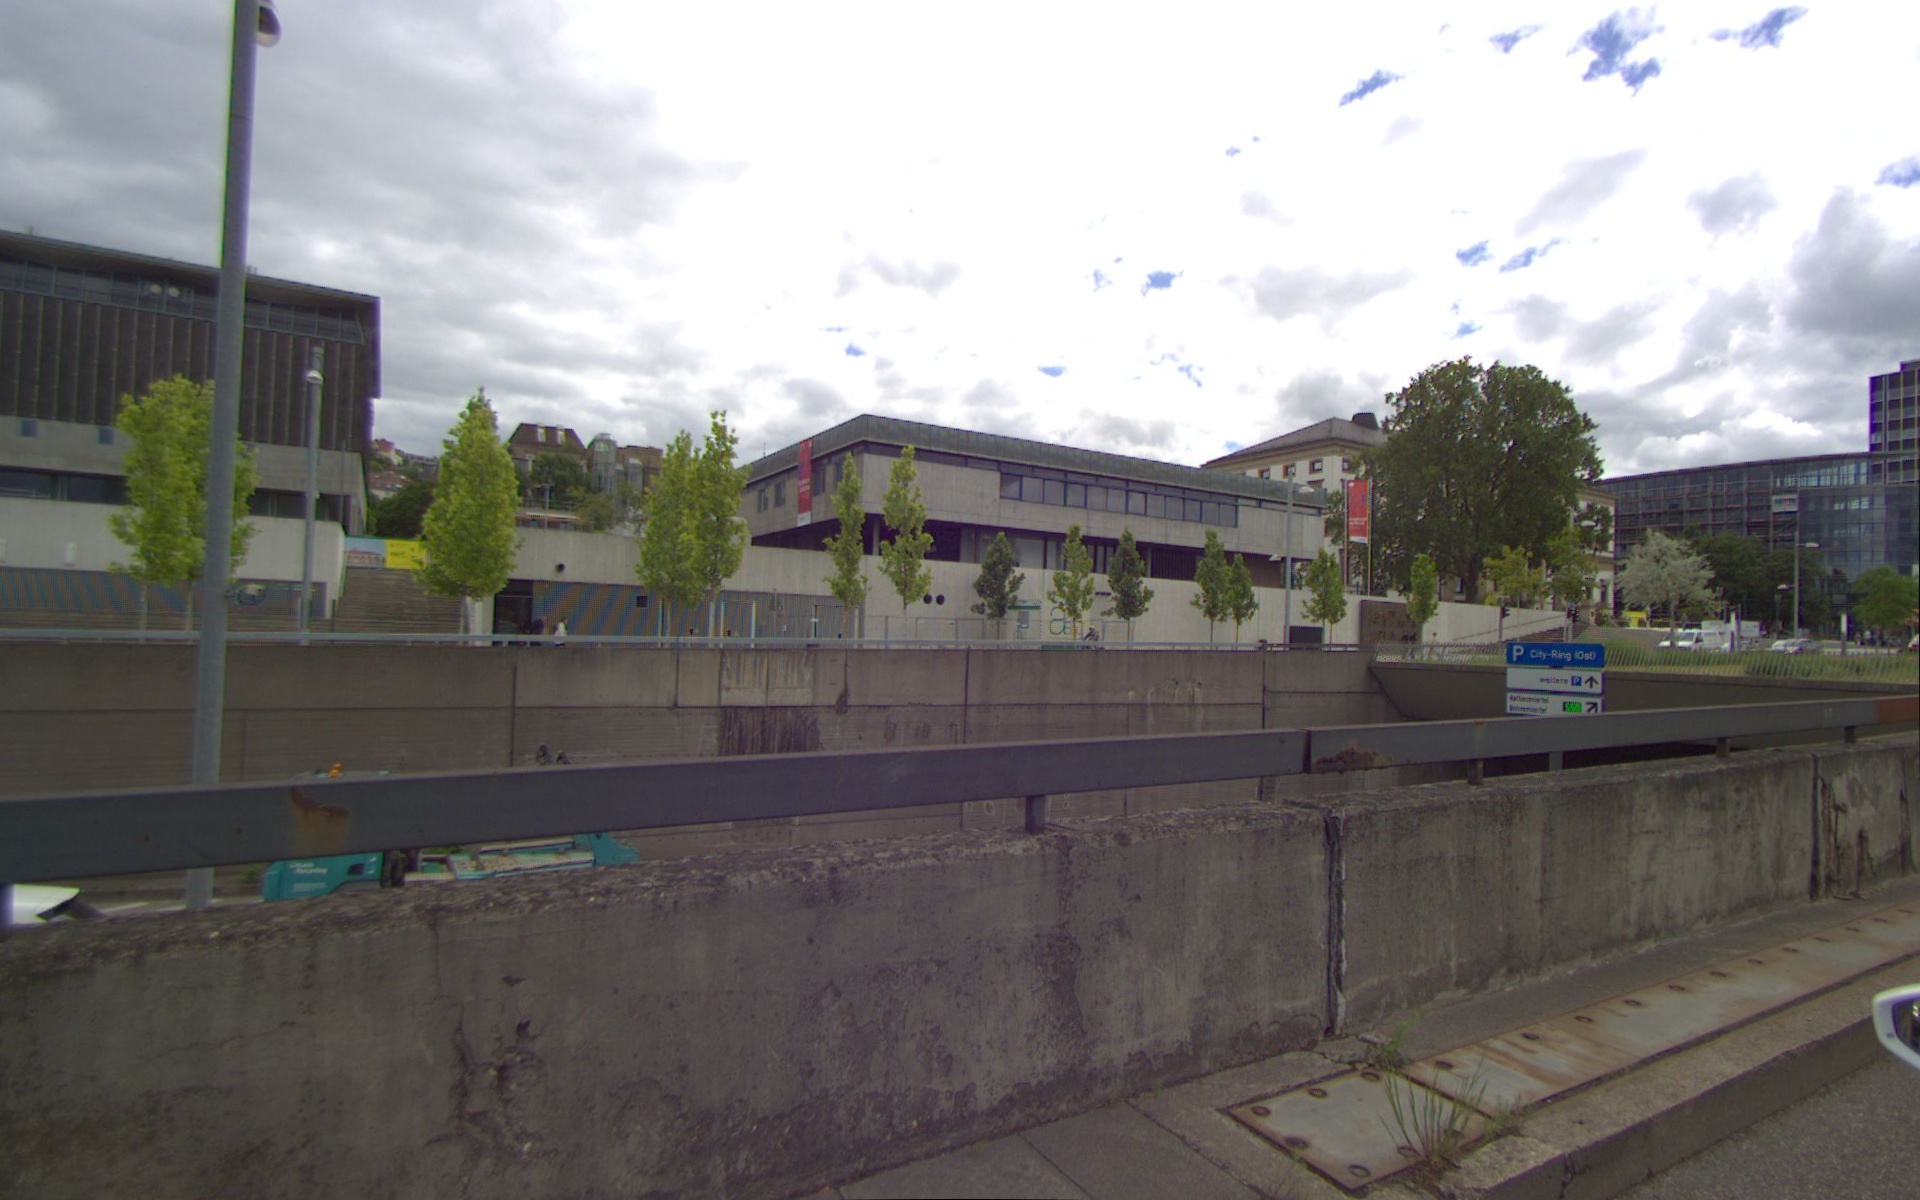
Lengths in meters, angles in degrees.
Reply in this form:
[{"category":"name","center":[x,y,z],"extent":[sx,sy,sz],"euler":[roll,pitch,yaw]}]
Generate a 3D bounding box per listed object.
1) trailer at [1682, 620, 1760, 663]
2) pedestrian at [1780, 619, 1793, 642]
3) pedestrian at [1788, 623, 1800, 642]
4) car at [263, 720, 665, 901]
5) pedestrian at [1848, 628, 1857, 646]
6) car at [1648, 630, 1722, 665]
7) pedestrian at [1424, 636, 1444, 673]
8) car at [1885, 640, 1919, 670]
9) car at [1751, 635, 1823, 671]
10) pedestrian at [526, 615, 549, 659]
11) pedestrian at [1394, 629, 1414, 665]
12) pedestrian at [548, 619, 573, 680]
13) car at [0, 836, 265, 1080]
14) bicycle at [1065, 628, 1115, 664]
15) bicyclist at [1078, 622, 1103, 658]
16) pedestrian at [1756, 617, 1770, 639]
[{"category":"trailer","center":[48.918,2.622,64.549],"extent":[5.443,2.640,2.028],"euler":[1,1,-30]},{"category":"pedestrian","center":[77.307,2.862,93.950],"extent":[0.783,2.040,0.736],"euler":[3,-2,-26]},{"category":"pedestrian","center":[88.349,3.411,106.359],"extent":[0.733,2.040,0.785],"euler":[0,-1,-34]},{"category":"car","center":[-8.530,3.476,17.721],"extent":[5.866,2.341,2.607],"euler":[3,0,-30]},{"category":"pedestrian","center":[99.612,4.136,112.101],"extent":[0.729,2.040,0.790],"euler":[-1,-1,38]},{"category":"car","center":[44.655,2.886,61.833],"extent":[4.635,2.040,1.985],"euler":[0,0,-30]},{"category":"pedestrian","center":[26.009,2.993,55.167],"extent":[0.845,2.040,0.629],"euler":[0,-1,12]},{"category":"car","center":[70.456,4.032,74.192],"extent":[4.638,2.040,1.983],"euler":[0,0,-32]},{"category":"car","center":[51.421,3.244,62.438],"extent":[4.635,2.040,1.985],"euler":[0,0,-30]},{"category":"pedestrian","center":[-15.985,1.385,37.982],"extent":[0.783,1.664,0.736],"euler":[0,-1,-27]},{"category":"pedestrian","center":[25.891,2.727,58.544],"extent":[0.779,2.040,0.739],"euler":[0,0,-13]},{"category":"pedestrian","center":[-13.723,1.691,34.536],"extent":[0.781,2.040,0.737],"euler":[0,-1,-20]},{"category":"car","center":[-12.038,4.317,11.984],"extent":[5.866,1.999,2.607],"euler":[3,0,-30]},{"category":"bicycle","center":[5.859,2.073,45.207],"extent":[2.165,1.556,0.722],"euler":[3,0,-31]},{"category":"bicyclist","center":[5.868,1.798,45.174],"extent":[0.767,1.574,0.727],"euler":[3,0,-31]},{"category":"pedestrian","center":[75.144,2.635,93.969],"extent":[0.783,2.040,0.735],"euler":[0,-1,-29]}]
